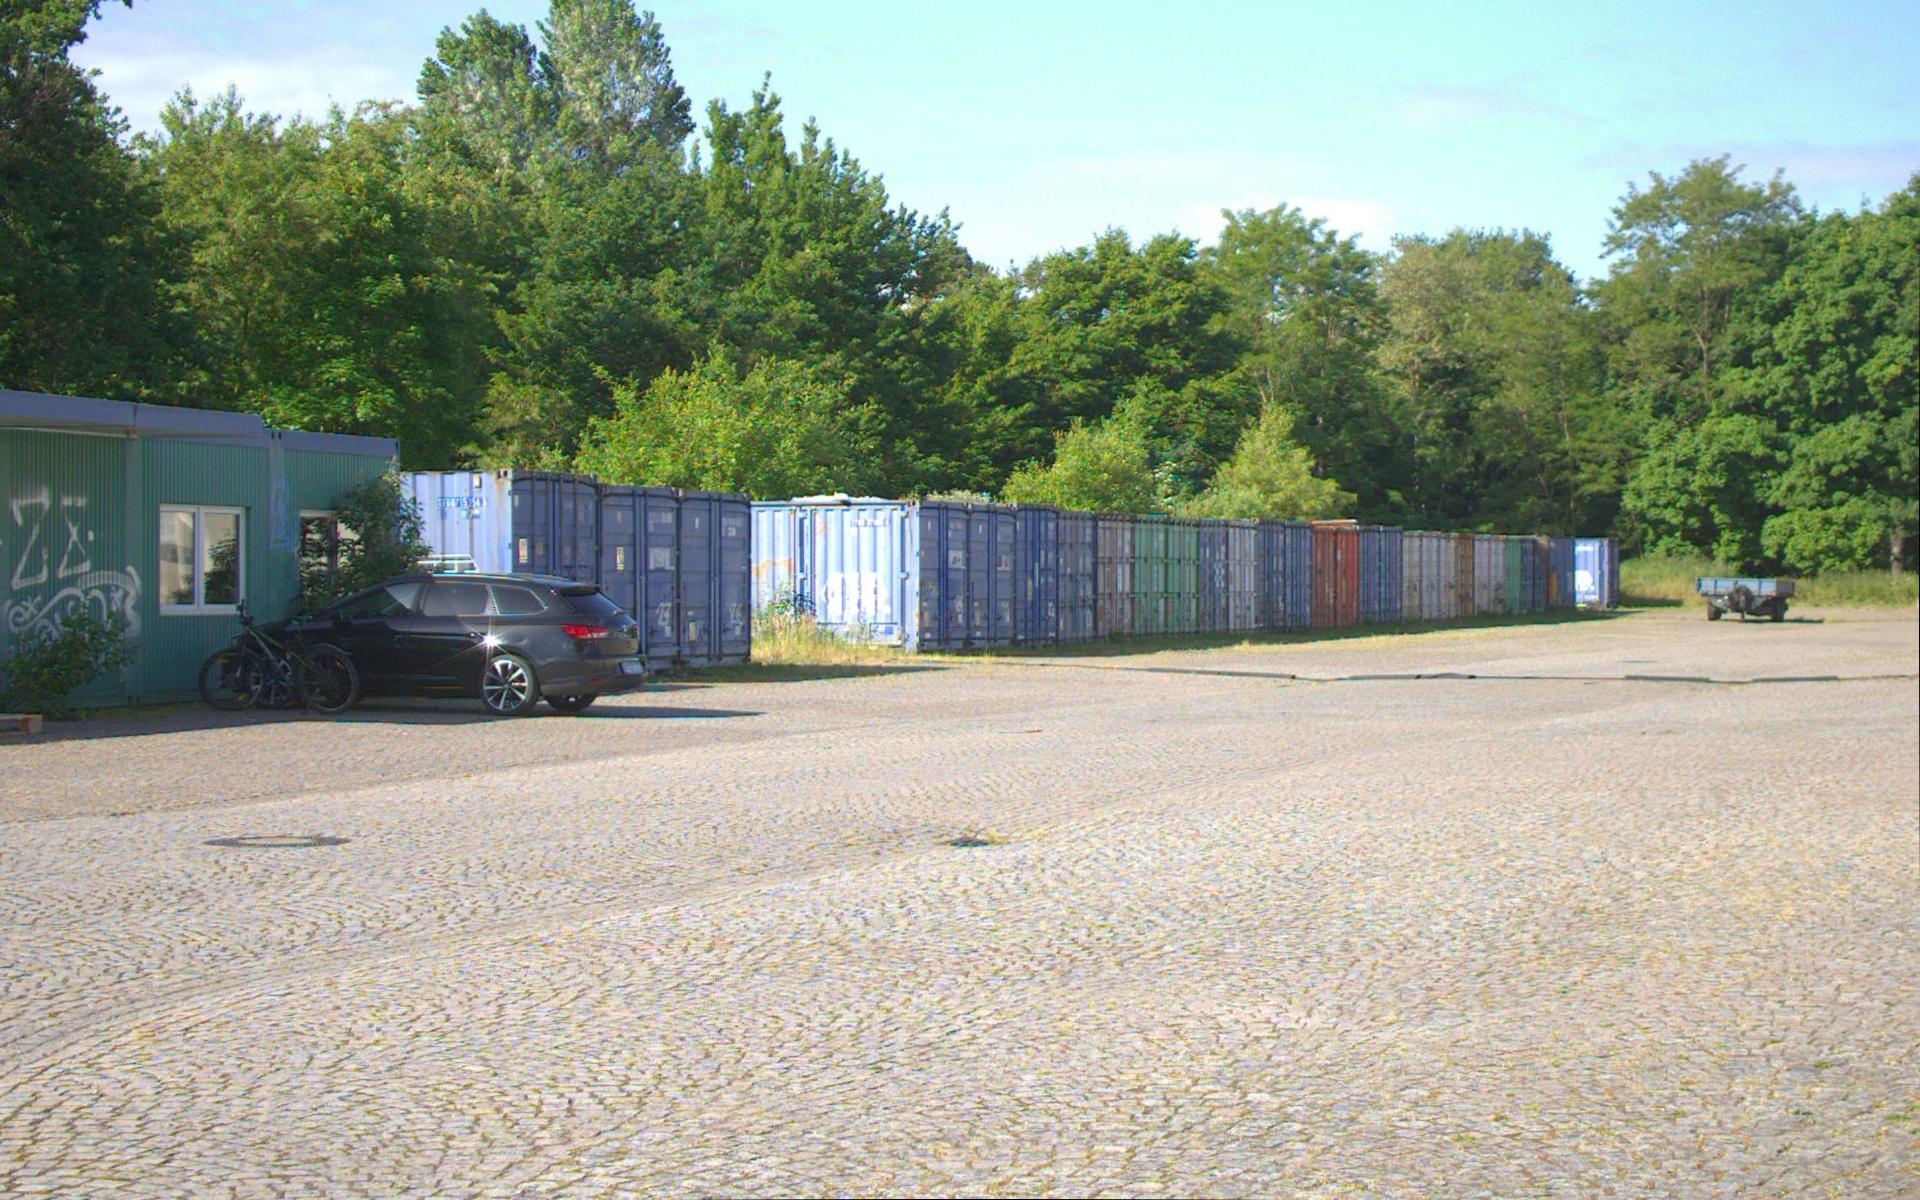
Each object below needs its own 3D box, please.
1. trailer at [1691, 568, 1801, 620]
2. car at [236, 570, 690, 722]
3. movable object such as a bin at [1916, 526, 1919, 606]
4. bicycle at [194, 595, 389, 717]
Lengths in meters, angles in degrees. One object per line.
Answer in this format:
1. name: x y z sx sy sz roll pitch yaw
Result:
1. trailer: 25.118 -0.221 109.734 2.708 1.460 6.241 2 2 19
2. car: -5.162 0.452 35.817 4.255 1.444 1.929 1 0 19
3. movable object such as a bin: 36.939 -1.291 127.299 2.309 2.887 5.745 2 2 21
4. bicycle: -6.702 0.555 34.455 1.805 1.166 0.668 1 0 18
